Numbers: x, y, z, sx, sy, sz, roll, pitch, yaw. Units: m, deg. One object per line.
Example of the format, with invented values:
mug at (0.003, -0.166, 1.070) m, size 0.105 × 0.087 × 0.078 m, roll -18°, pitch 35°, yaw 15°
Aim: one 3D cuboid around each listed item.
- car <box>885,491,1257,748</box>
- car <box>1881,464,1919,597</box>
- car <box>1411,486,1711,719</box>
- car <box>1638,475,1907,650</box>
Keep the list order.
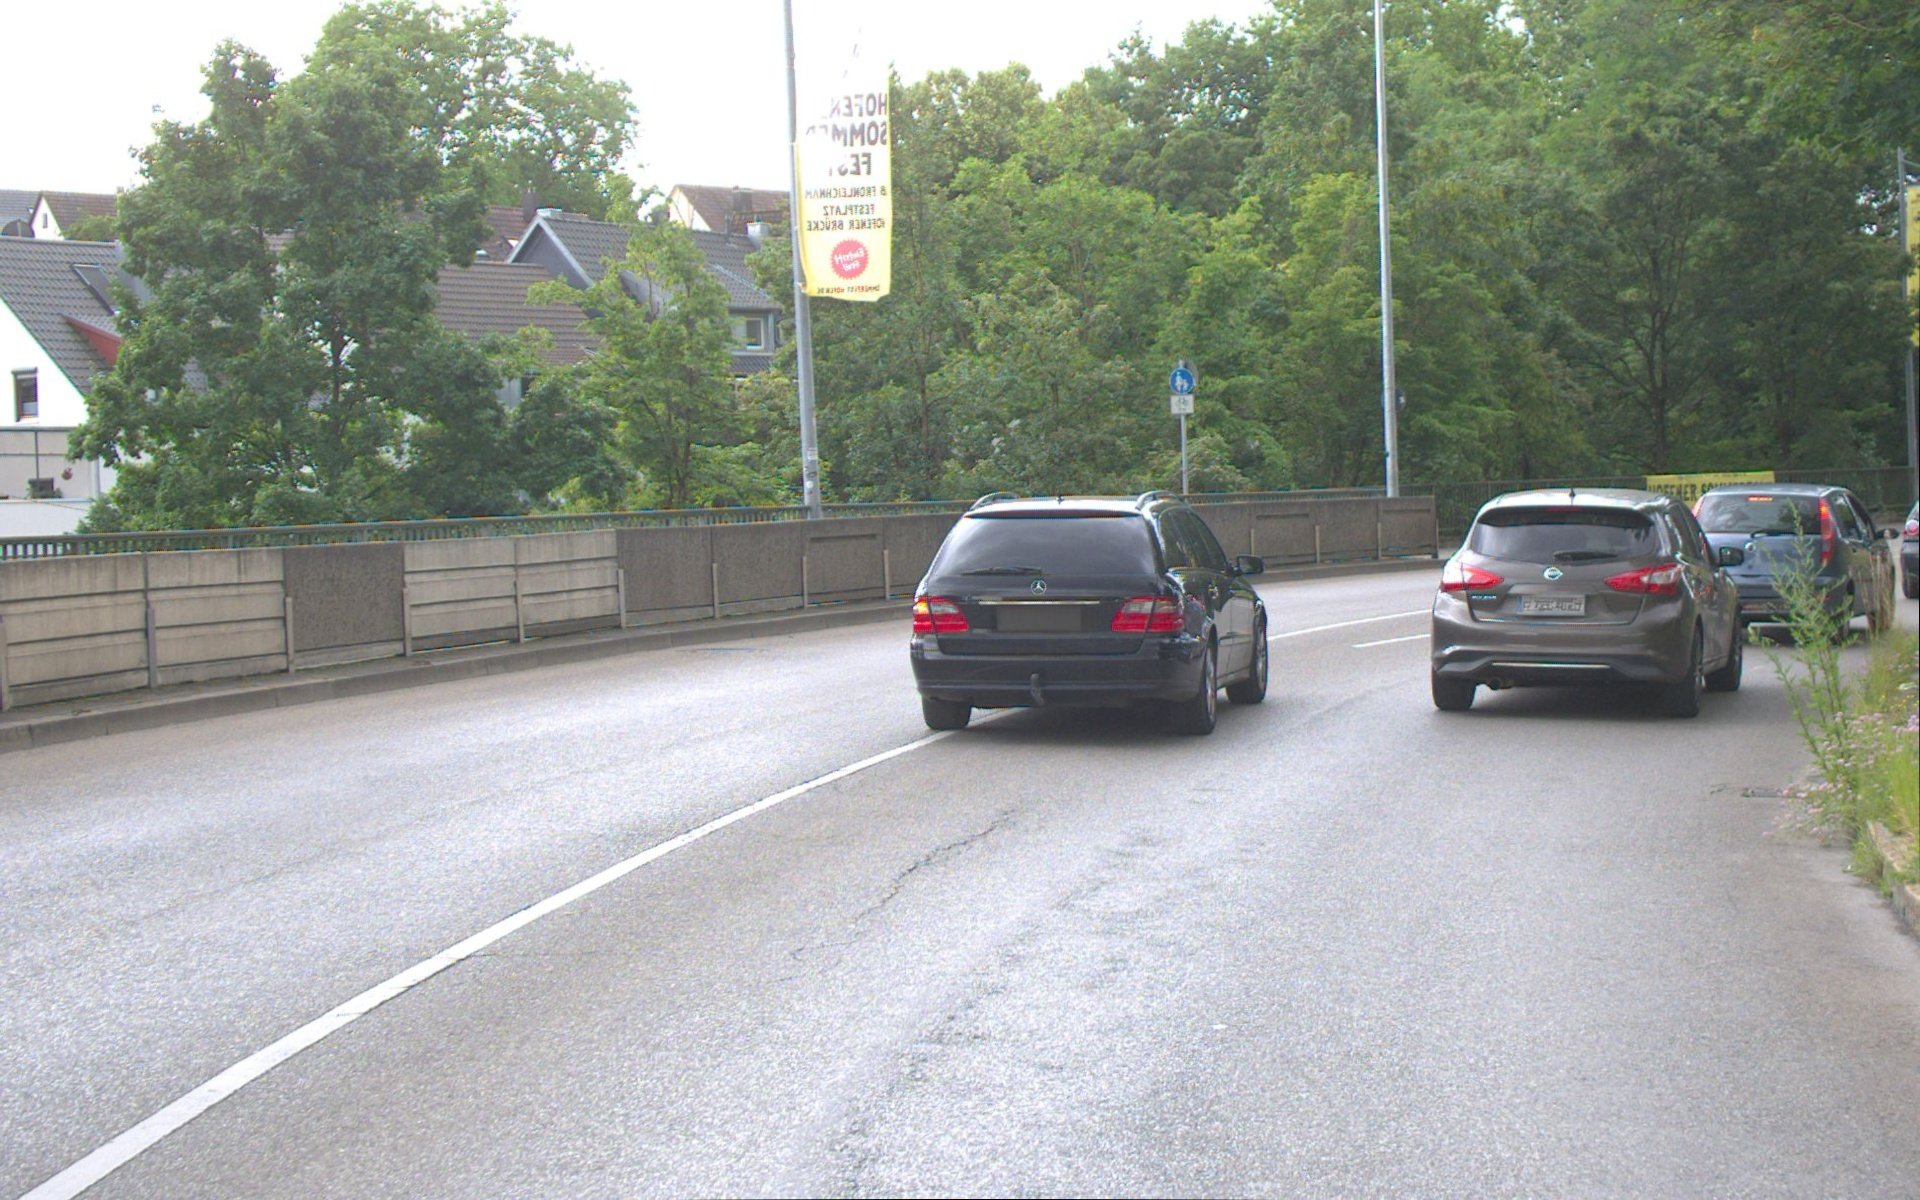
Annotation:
car at (0.831, 0.051, 22.330) m, size 1.852 × 1.481 × 4.419 m, roll 0°, pitch 2°, yaw 9°
car at (12.150, -0.867, 41.365) m, size 1.579 × 1.533 × 3.996 m, roll -1°, pitch 1°, yaw 22°
car at (4.337, -0.046, 24.394) m, size 1.776 × 1.489 × 3.998 m, roll 1°, pitch 2°, yaw 14°
car at (7.860, -0.389, 33.020) m, size 1.895 × 1.568 × 3.995 m, roll 1°, pitch 2°, yaw 23°
